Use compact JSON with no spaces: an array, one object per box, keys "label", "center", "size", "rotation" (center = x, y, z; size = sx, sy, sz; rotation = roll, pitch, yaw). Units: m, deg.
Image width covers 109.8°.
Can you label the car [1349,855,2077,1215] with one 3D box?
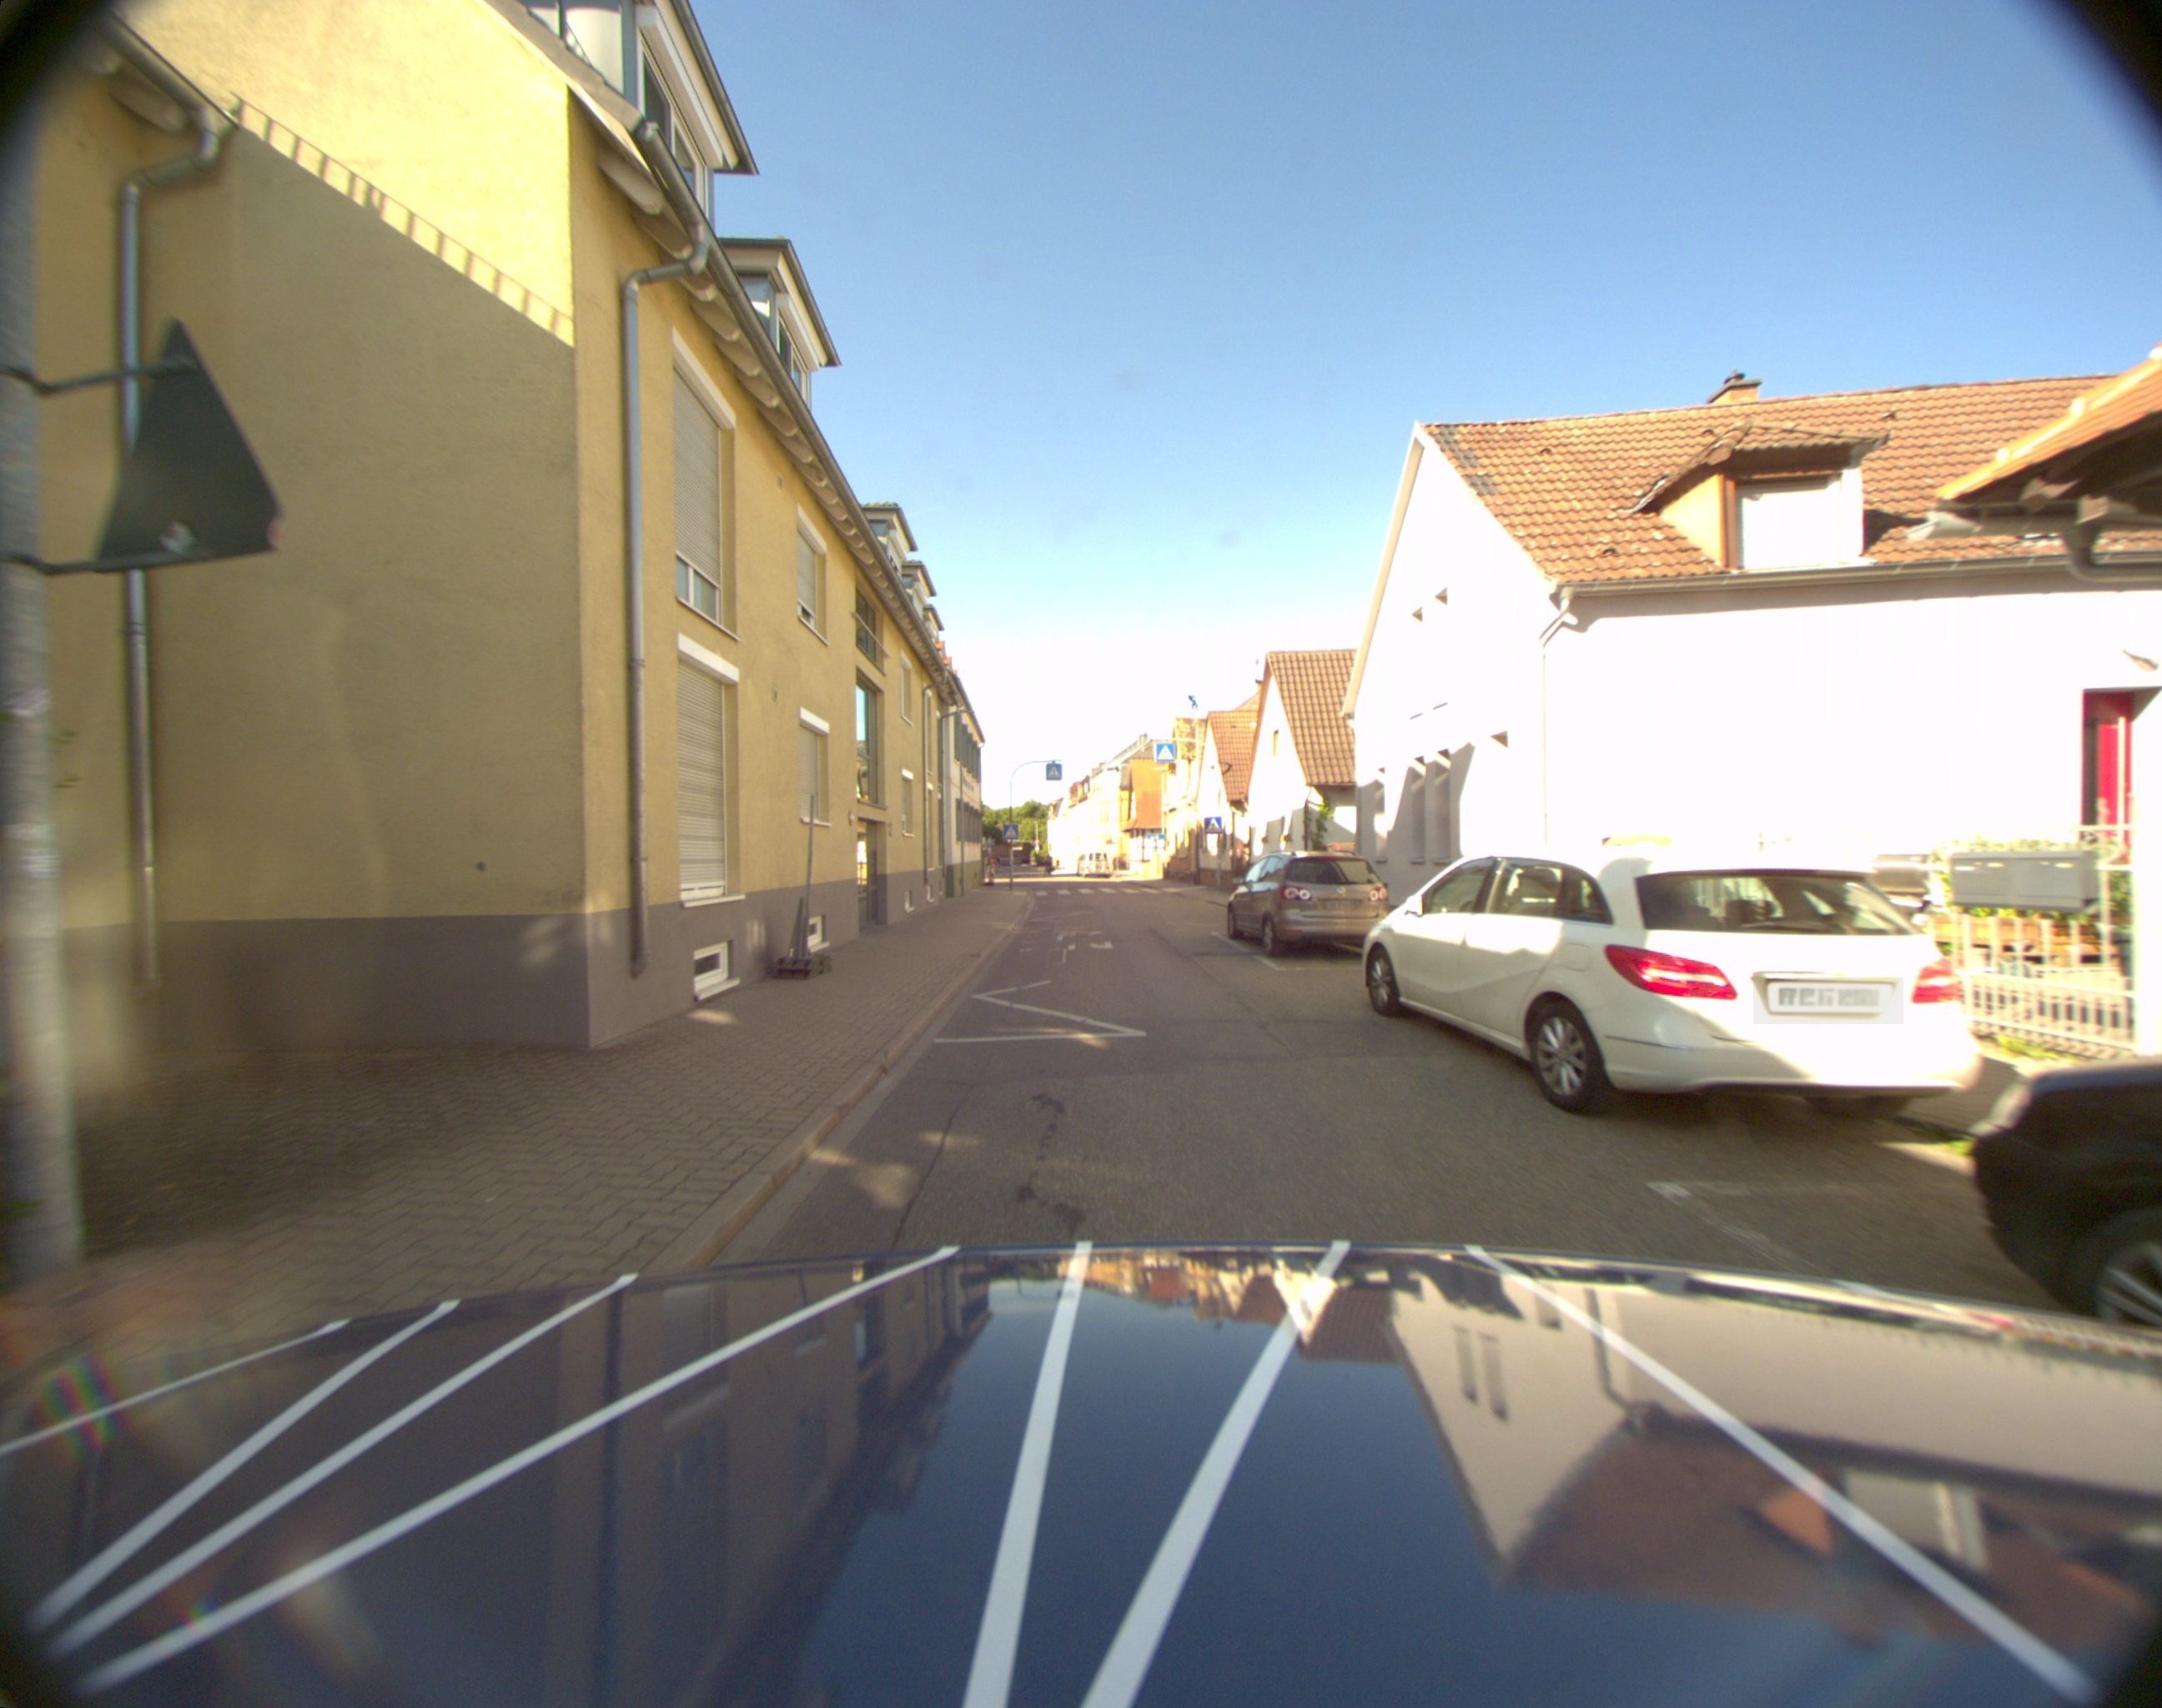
[{"label":"car","center":[3.579,0.821,5.510],"size":[1.821,1.558,4.167],"rotation":[-1,1,0]}]

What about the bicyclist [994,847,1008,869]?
[{"label":"bicyclist","center":[-8.819,0.425,83.766],"size":[1.258,2.295,1.241],"rotation":[-4,1,-10]}]

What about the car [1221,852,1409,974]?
[{"label":"car","center":[3.571,0.801,12.383],"size":[1.747,1.604,3.999],"rotation":[-1,1,-1]}]

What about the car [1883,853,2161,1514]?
[{"label":"car","center":[3.478,0.807,0.296],"size":[1.788,1.595,4.361],"rotation":[-1,0,1]}]

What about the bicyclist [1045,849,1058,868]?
[{"label":"bicyclist","center":[-2.347,0.361,60.604],"size":[0.609,1.524,0.656],"rotation":[-2,2,40]}]

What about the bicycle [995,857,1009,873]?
[{"label":"bicycle","center":[-8.758,1.211,83.700],"size":[1.257,1.543,3.996],"rotation":[-4,1,-8]}]

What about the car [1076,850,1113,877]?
[{"label":"car","center":[0.932,0.638,56.073],"size":[1.881,1.870,4.831],"rotation":[0,1,-9]}]

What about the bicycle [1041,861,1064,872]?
[{"label":"bicycle","center":[-2.282,1.006,60.659],"size":[0.623,0.774,1.916],"rotation":[-2,2,41]}]
